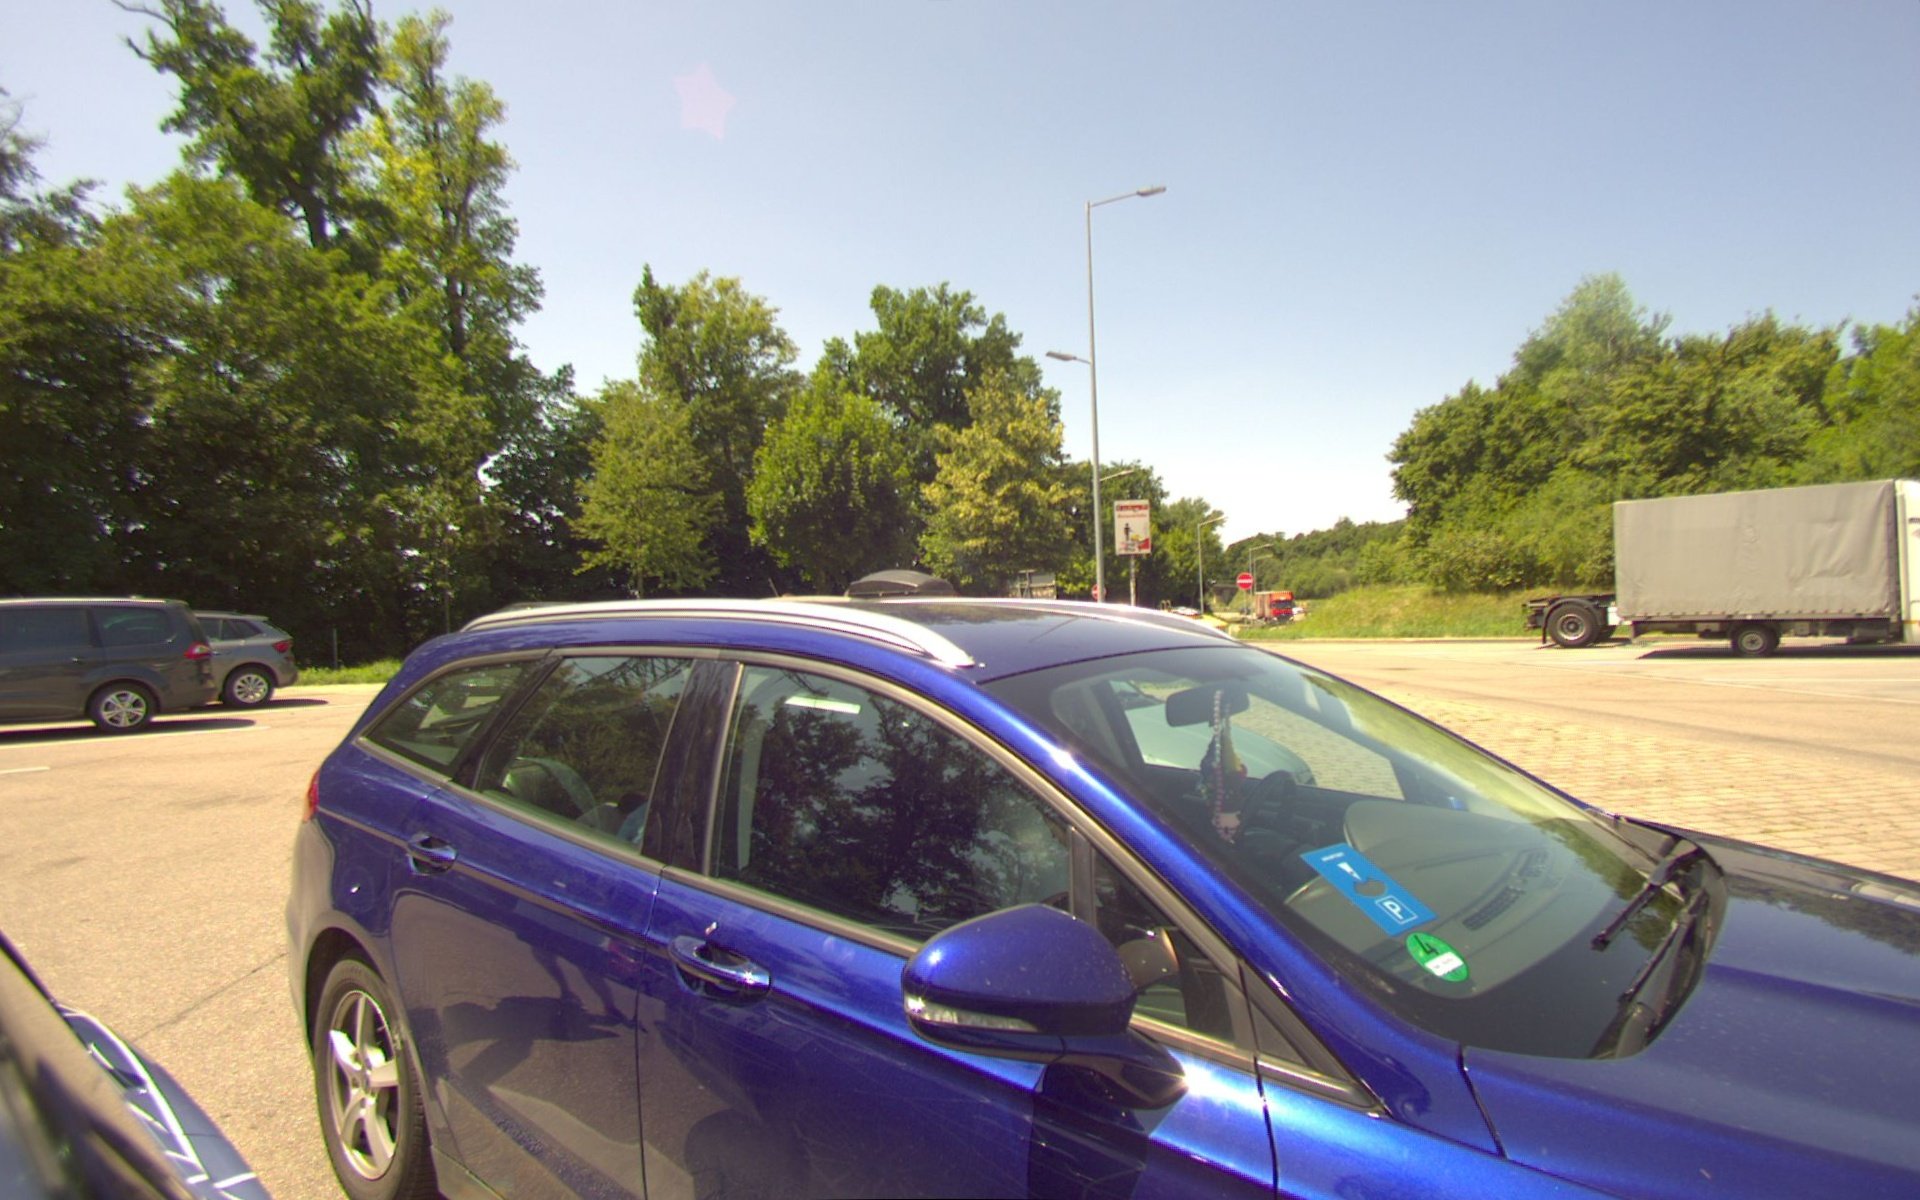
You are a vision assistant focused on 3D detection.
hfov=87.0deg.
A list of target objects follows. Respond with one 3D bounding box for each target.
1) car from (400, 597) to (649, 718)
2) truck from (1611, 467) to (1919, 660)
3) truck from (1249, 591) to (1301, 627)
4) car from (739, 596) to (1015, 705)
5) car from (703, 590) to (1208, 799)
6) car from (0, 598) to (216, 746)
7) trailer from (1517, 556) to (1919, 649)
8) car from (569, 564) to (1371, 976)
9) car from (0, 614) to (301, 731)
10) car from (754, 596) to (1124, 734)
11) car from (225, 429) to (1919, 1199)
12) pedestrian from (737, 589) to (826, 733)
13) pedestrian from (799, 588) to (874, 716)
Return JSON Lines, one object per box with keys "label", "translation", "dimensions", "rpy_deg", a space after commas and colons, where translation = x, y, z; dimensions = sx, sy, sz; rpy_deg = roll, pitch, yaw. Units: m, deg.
{"label": "car", "translation": [-6.965, 0.839, 16.829], "dimensions": [1.974, 1.725, 4.613], "rpy_deg": [-1, 0, 3]}
{"label": "truck", "translation": [16.836, -0.654, 18.966], "dimensions": [7.295, 3.259, 2.709], "rpy_deg": [-4, -1, 43]}
{"label": "truck", "translation": [39.872, 1.067, 128.639], "dimensions": [3.094, 4.150, 15.375], "rpy_deg": [-1, 0, 5]}
{"label": "car", "translation": [-1.468, 0.830, 16.857], "dimensions": [4.485, 1.562, 1.756], "rpy_deg": [-3, -1, 36]}
{"label": "car", "translation": [-0.235, 0.752, 9.211], "dimensions": [4.490, 1.437, 1.754], "rpy_deg": [-3, -1, 40]}
{"label": "car", "translation": [-11.932, 0.864, 12.299], "dimensions": [4.553, 1.725, 1.741], "rpy_deg": [0, -1, -41]}
{"label": "trailer", "translation": [17.262, 0.127, 23.394], "dimensions": [7.295, 1.701, 2.235], "rpy_deg": [-4, -1, 43]}
{"label": "car", "translation": [-0.247, 0.696, 5.836], "dimensions": [4.490, 1.511, 1.754], "rpy_deg": [-3, -1, 40]}
{"label": "car", "translation": [-12.587, 1.009, 15.463], "dimensions": [1.687, 1.515, 3.943], "rpy_deg": [-1, 0, 43]}
{"label": "car", "translation": [-0.376, 0.778, 12.758], "dimensions": [4.485, 1.437, 1.756], "rpy_deg": [-3, -1, 36]}
{"label": "car", "translation": [0.265, 0.662, 2.138], "dimensions": [4.490, 1.502, 1.851], "rpy_deg": [-3, 0, 40]}
{"label": "pedestrian", "translation": [-2.171, 0.717, 12.314], "dimensions": [0.832, 1.676, 0.667], "rpy_deg": [-2, -1, 38]}
{"label": "pedestrian", "translation": [-1.750, 0.709, 14.340], "dimensions": [0.820, 1.746, 0.677], "rpy_deg": [-1, -1, -34]}
